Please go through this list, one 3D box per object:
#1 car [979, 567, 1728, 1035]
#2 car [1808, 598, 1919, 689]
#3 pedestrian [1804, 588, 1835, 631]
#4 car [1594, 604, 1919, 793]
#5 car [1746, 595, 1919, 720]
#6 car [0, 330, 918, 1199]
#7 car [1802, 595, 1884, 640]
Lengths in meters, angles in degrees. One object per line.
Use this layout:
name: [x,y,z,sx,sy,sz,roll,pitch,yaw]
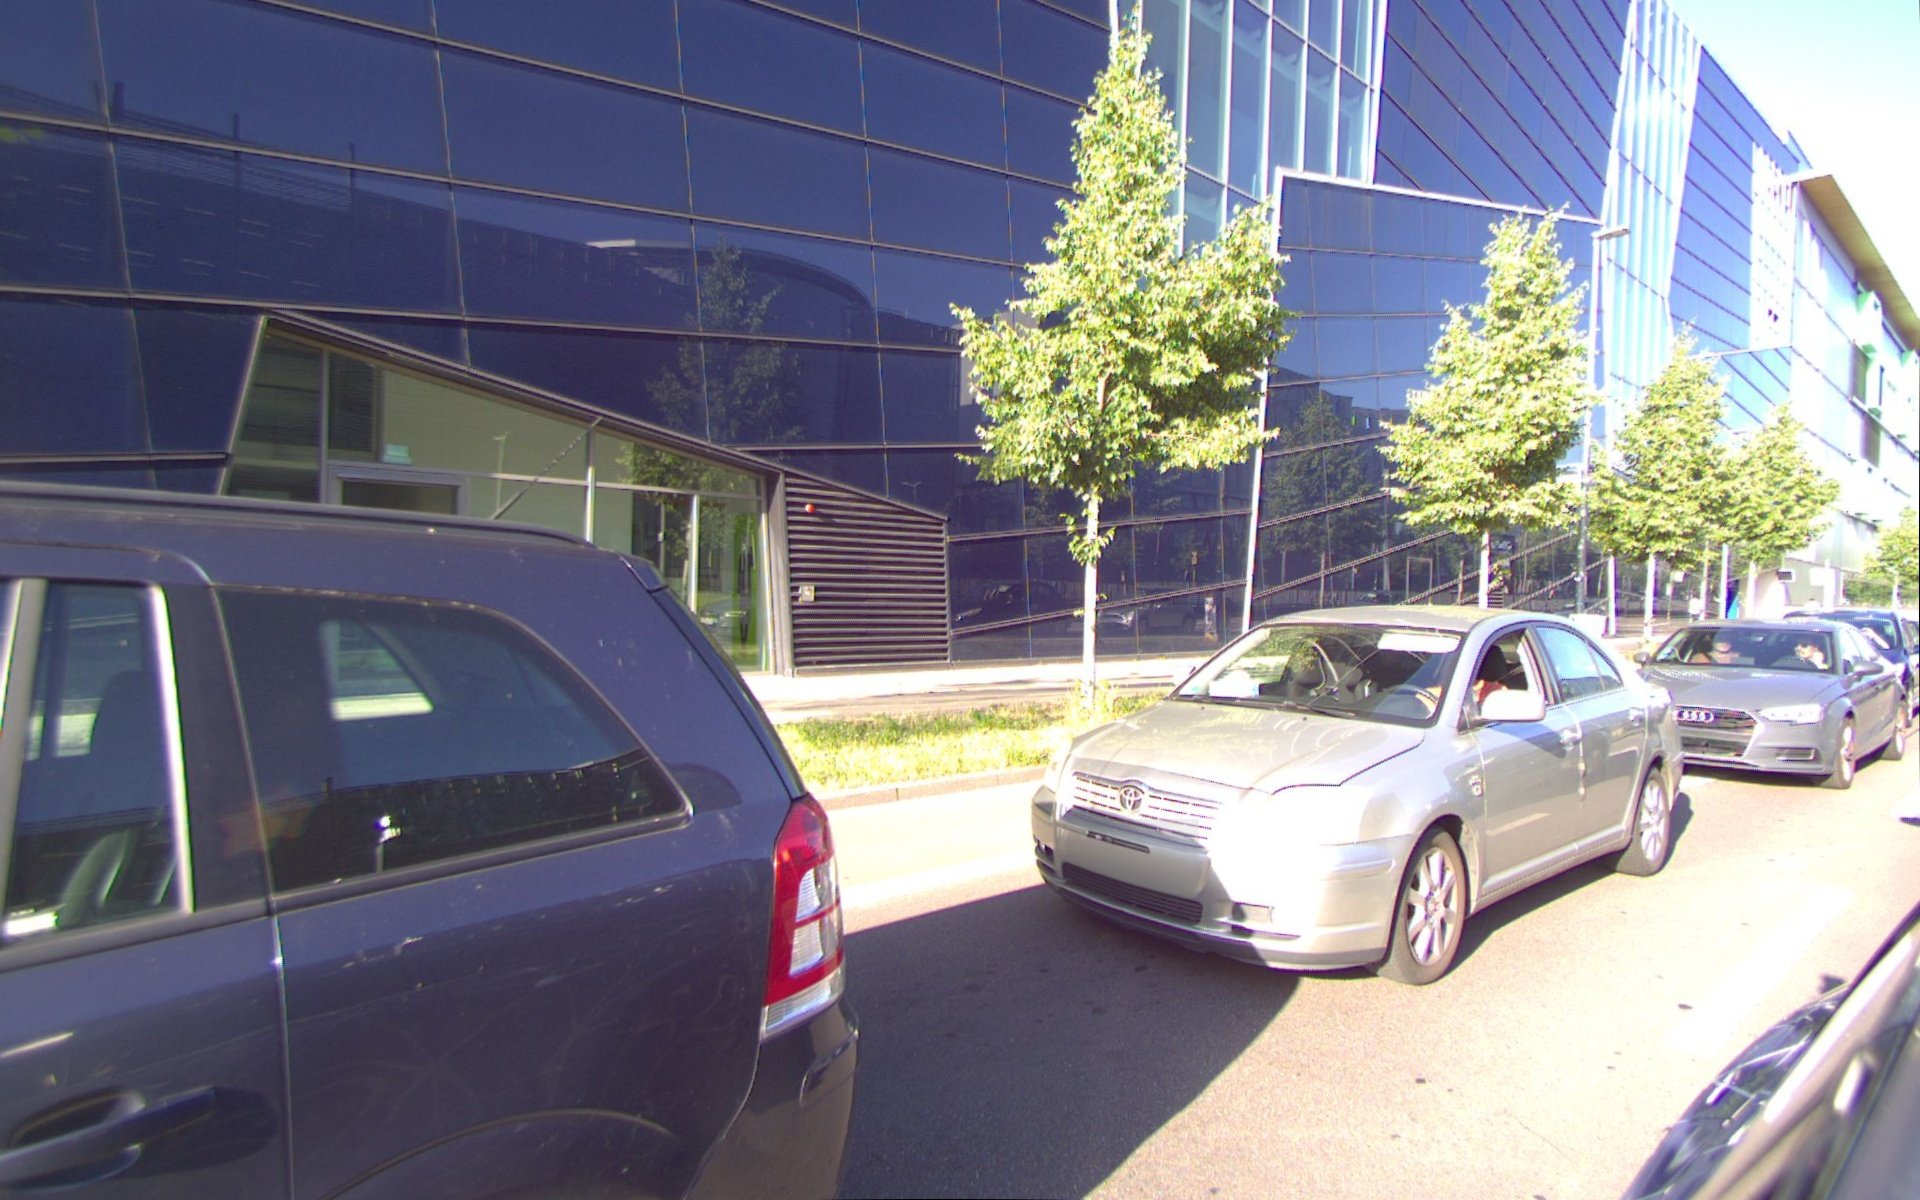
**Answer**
car: [2.390,0.623,5.404,4.546,1.500,1.750,0,2,-40]
car: [16.848,0.732,18.373,3.358,1.497,1.752,1,0,-41]
pedestrian: [39.431,0.429,46.441,0.889,1.846,0.829,1,4,-41]
car: [7.912,0.764,9.801,4.187,1.409,1.750,0,1,-39]
car: [12.567,0.707,14.181,3.902,1.497,1.752,1,0,-41]
car: [-2.199,0.588,1.086,4.188,1.717,1.748,0,0,-43]
car: [34.319,0.657,39.310,4.633,1.516,1.739,1,3,-41]
